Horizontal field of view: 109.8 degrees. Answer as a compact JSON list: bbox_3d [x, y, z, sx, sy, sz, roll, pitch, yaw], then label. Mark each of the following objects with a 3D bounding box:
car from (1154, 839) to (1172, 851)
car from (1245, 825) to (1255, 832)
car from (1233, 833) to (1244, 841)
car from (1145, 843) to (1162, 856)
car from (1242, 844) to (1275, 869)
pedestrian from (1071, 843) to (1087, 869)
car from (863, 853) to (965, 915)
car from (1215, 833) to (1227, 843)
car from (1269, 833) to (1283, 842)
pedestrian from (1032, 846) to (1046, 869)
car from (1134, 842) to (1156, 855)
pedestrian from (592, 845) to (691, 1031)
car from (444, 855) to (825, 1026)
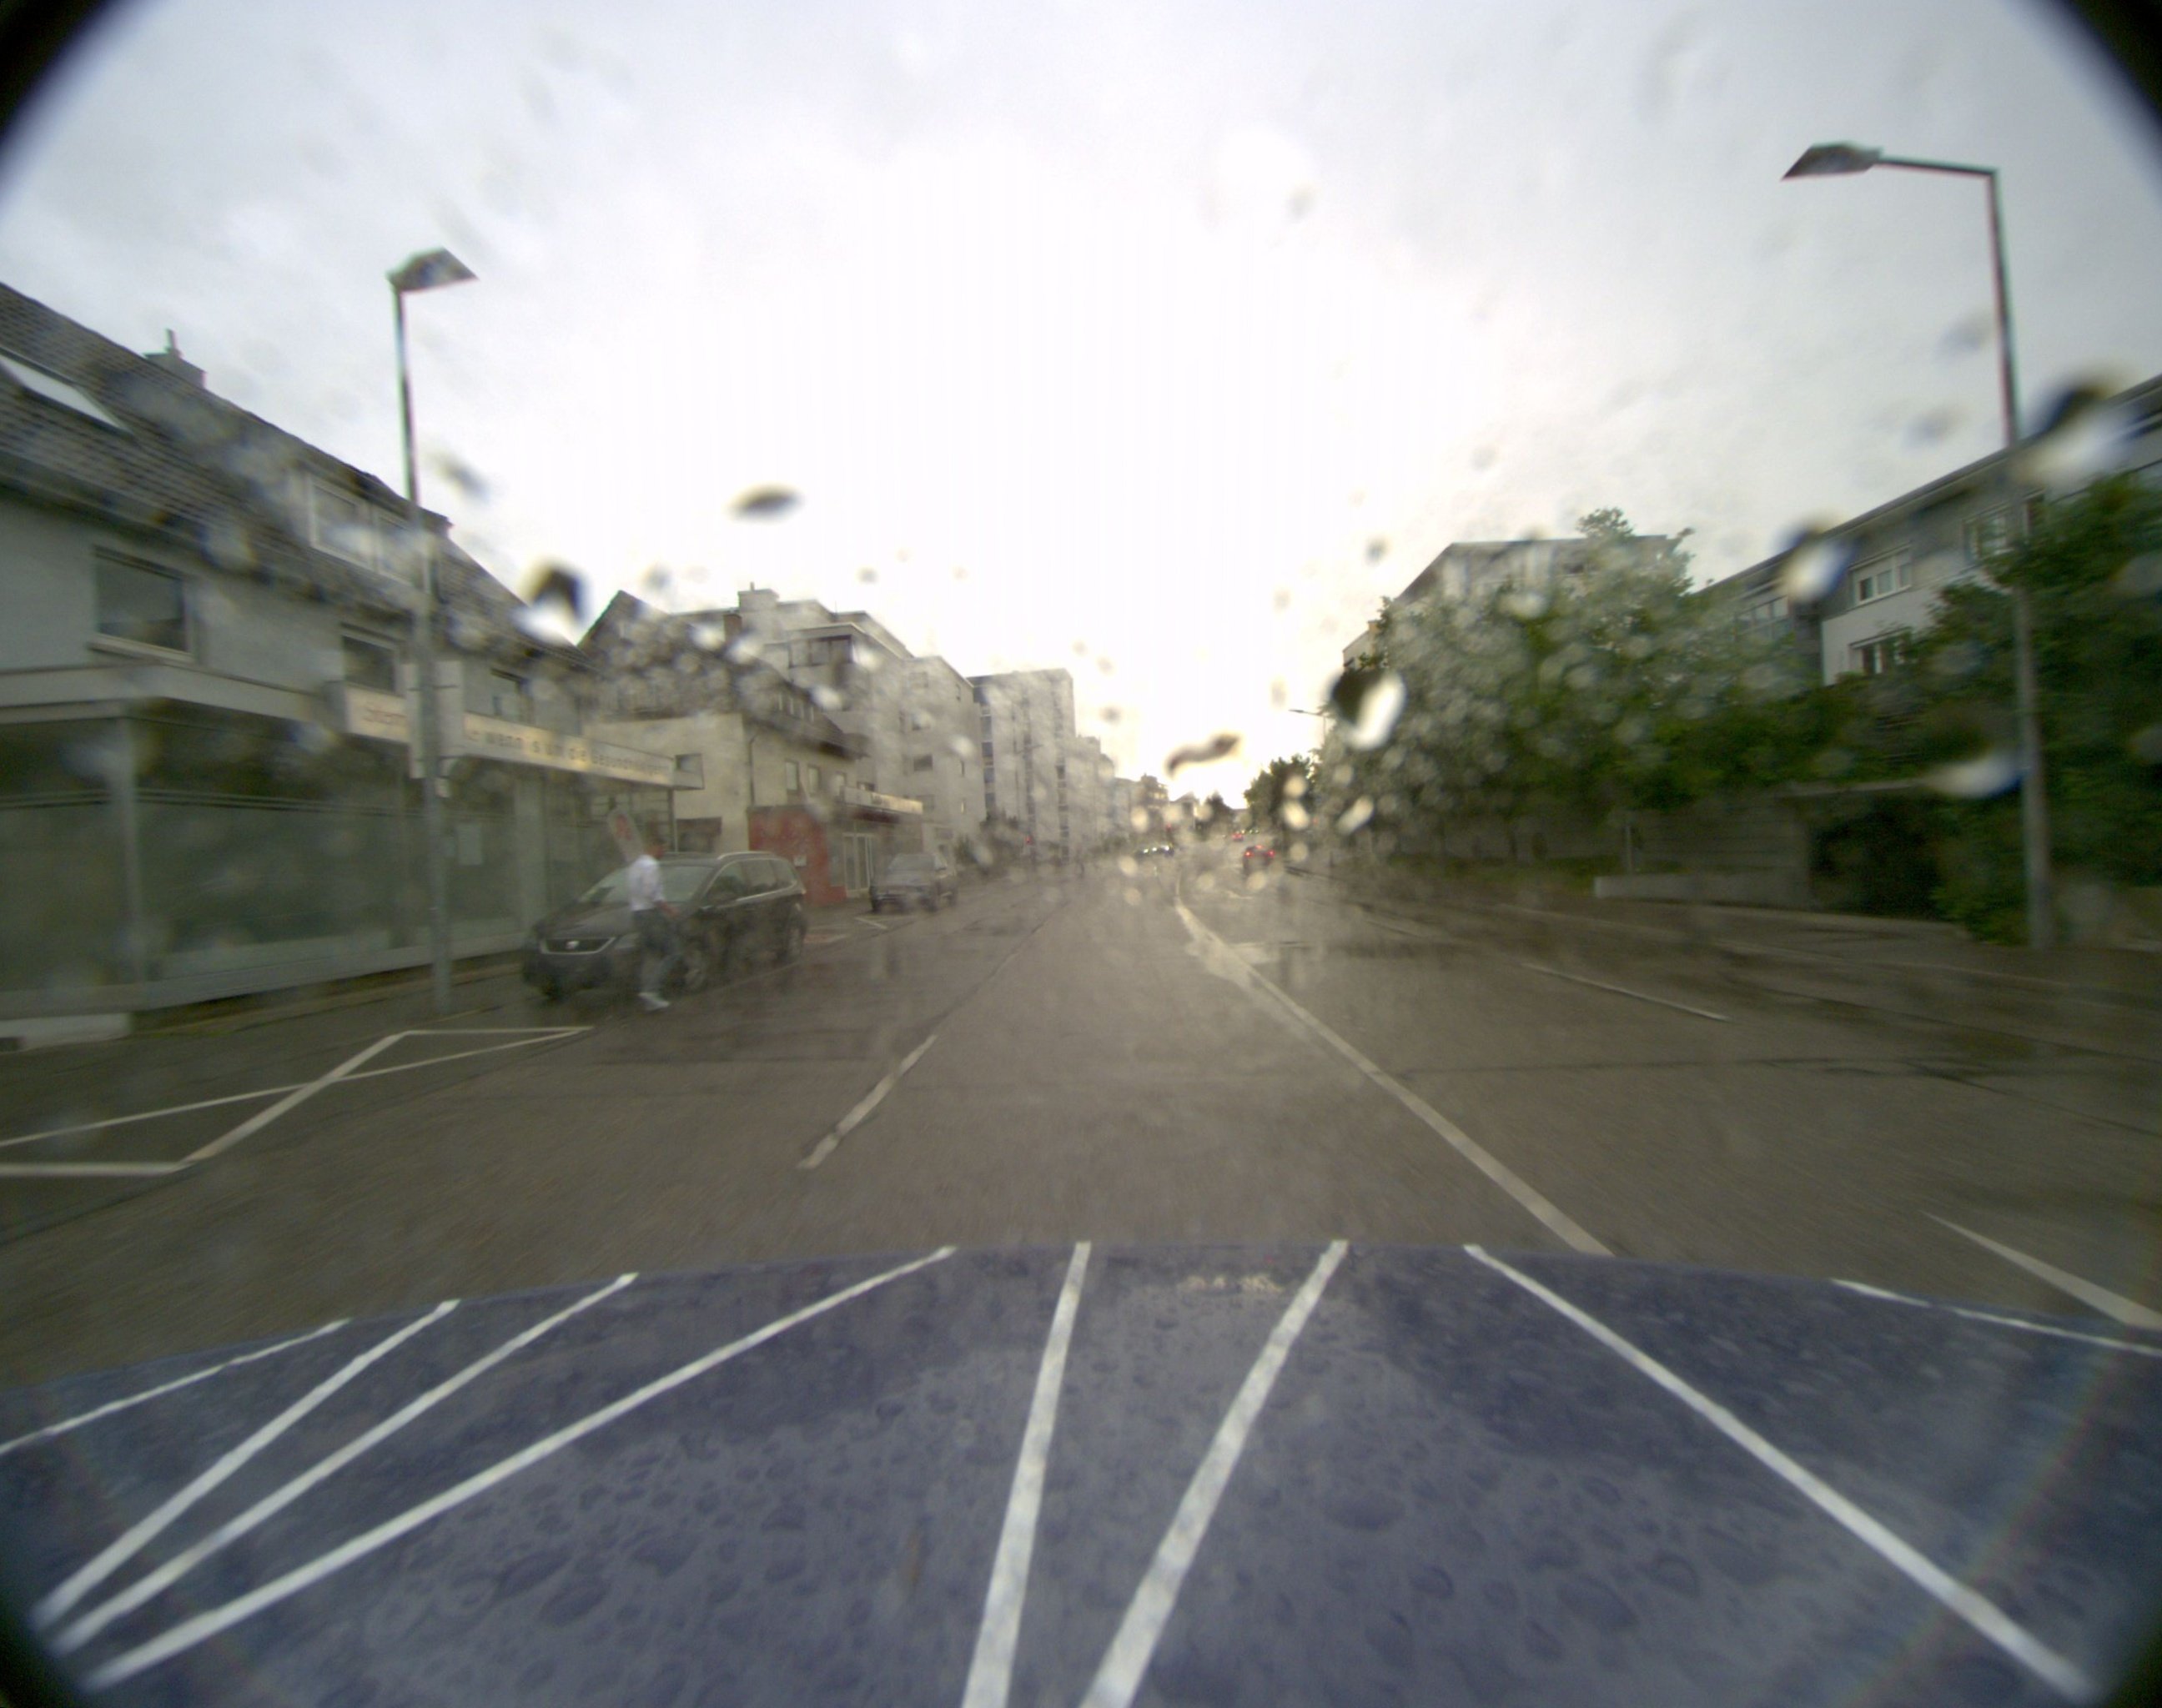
[{"bbox_3d":[12.055,-1.340,111.168,1.896,1.535,4.024,-4,1,15],"label":"car"},{"bbox_3d":[43.196,-6.569,194.178,1.827,1.677,4.004,-2,1,18],"label":"car"},{"bbox_3d":[31.474,-3.393,151.616,1.691,1.546,3.910,-5,1,15],"label":"car"},{"bbox_3d":[9.691,-0.611,101.772,1.752,1.470,4.003,-4,1,12],"label":"car"},{"bbox_3d":[11.364,0.113,48.857,1.778,1.498,4.106,0,1,9],"label":"car"},{"bbox_3d":[-0.135,0.146,51.919,0.667,1.692,0.948,-3,1,26],"label":"pedestrian"},{"bbox_3d":[-5.022,0.825,23.537,1.879,1.633,4.792,-1,1,3],"label":"car"},{"bbox_3d":[31.534,-3.581,170.850,1.996,2.002,4.004,-7,1,18],"label":"car"},{"bbox_3d":[33.981,-2.845,132.042,1.734,1.470,4.026,-4,1,23],"label":"car"},{"bbox_3d":[-3.078,0.253,55.624,0.754,1.559,0.993,-5,1,7],"label":"pedestrian"},{"bbox_3d":[7.921,-0.653,93.760,1.739,1.477,4.153,-3,1,16],"label":"car"},{"bbox_3d":[-4.701,0.860,8.135,0.622,1.880,0.648,-2,1,38],"label":"pedestrian"},{"bbox_3d":[-5.547,0.917,10.475,2.040,1.685,4.963,-1,1,4],"label":"car"}]
